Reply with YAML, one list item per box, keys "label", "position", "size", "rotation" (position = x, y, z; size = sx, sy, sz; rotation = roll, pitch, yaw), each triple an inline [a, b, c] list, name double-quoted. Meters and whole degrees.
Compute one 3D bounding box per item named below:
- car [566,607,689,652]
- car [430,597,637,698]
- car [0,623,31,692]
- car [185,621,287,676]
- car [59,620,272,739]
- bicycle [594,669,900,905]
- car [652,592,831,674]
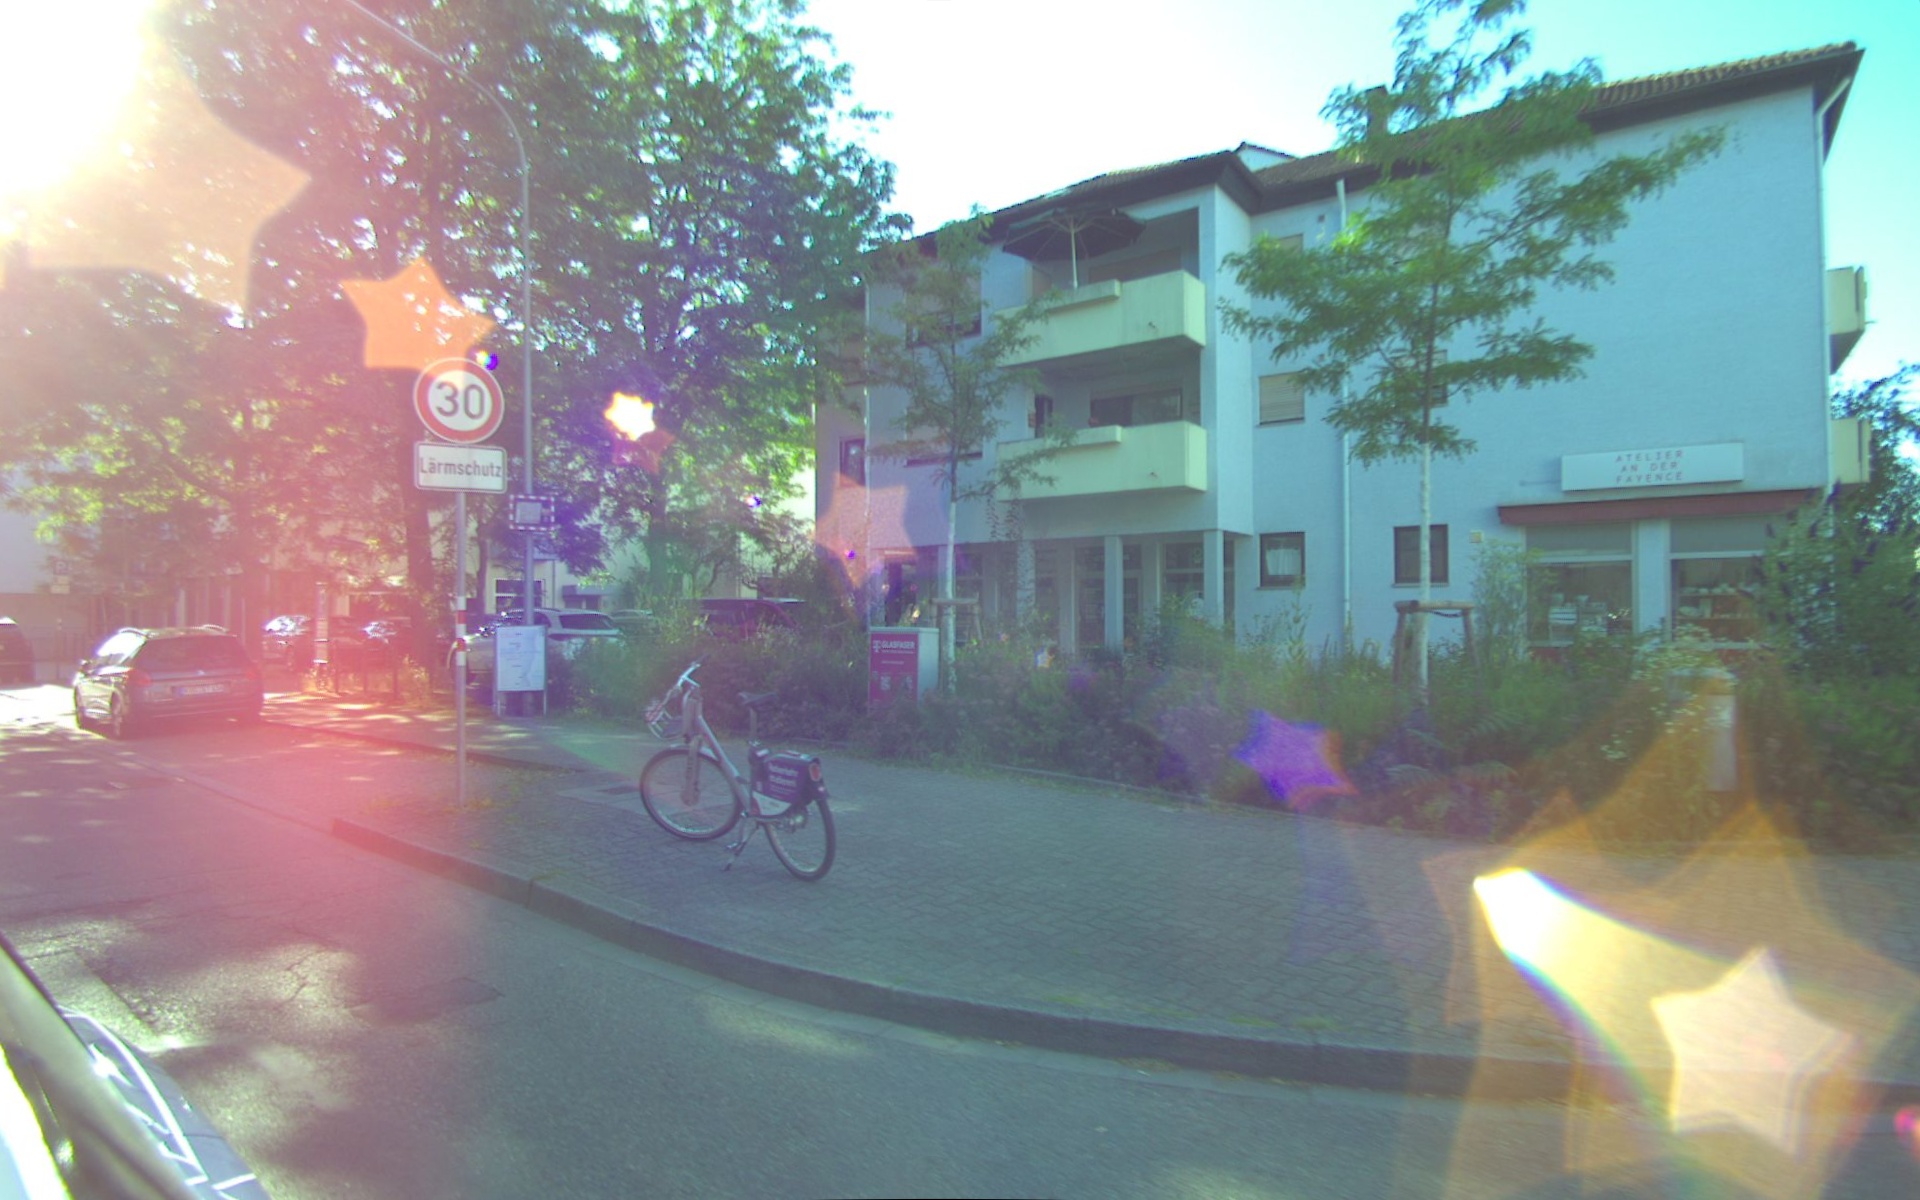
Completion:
- label: "car"
  position: [-12.675, 1.098, 38.414]
  size: [5.181, 1.572, 1.919]
  rotation: [-2, 0, 39]
- label: "car"
  position: [-9.096, 0.981, 21.403]
  size: [4.897, 1.909, 1.826]
  rotation: [-2, -2, 37]
- label: "car"
  position: [-26.578, 1.540, 26.986]
  size: [5.095, 1.718, 1.913]
  rotation: [-2, 1, 39]
- label: "car"
  position: [-20.038, 1.312, 27.978]
  size: [3.637, 1.419, 1.505]
  rotation: [-2, -2, 41]
- label: "car"
  position: [-11.944, 1.089, 15.133]
  size: [3.996, 1.503, 1.680]
  rotation: [-2, 0, 39]
- label: "bicycle"
  position: [-1.252, 0.929, 5.623]
  size: [1.942, 1.010, 0.696]
  rotation: [-2, -1, 44]
- label: "car"
  position: [-5.683, 0.849, 26.251]
  size: [4.304, 1.963, 2.004]
  rotation: [-1, -2, 29]
